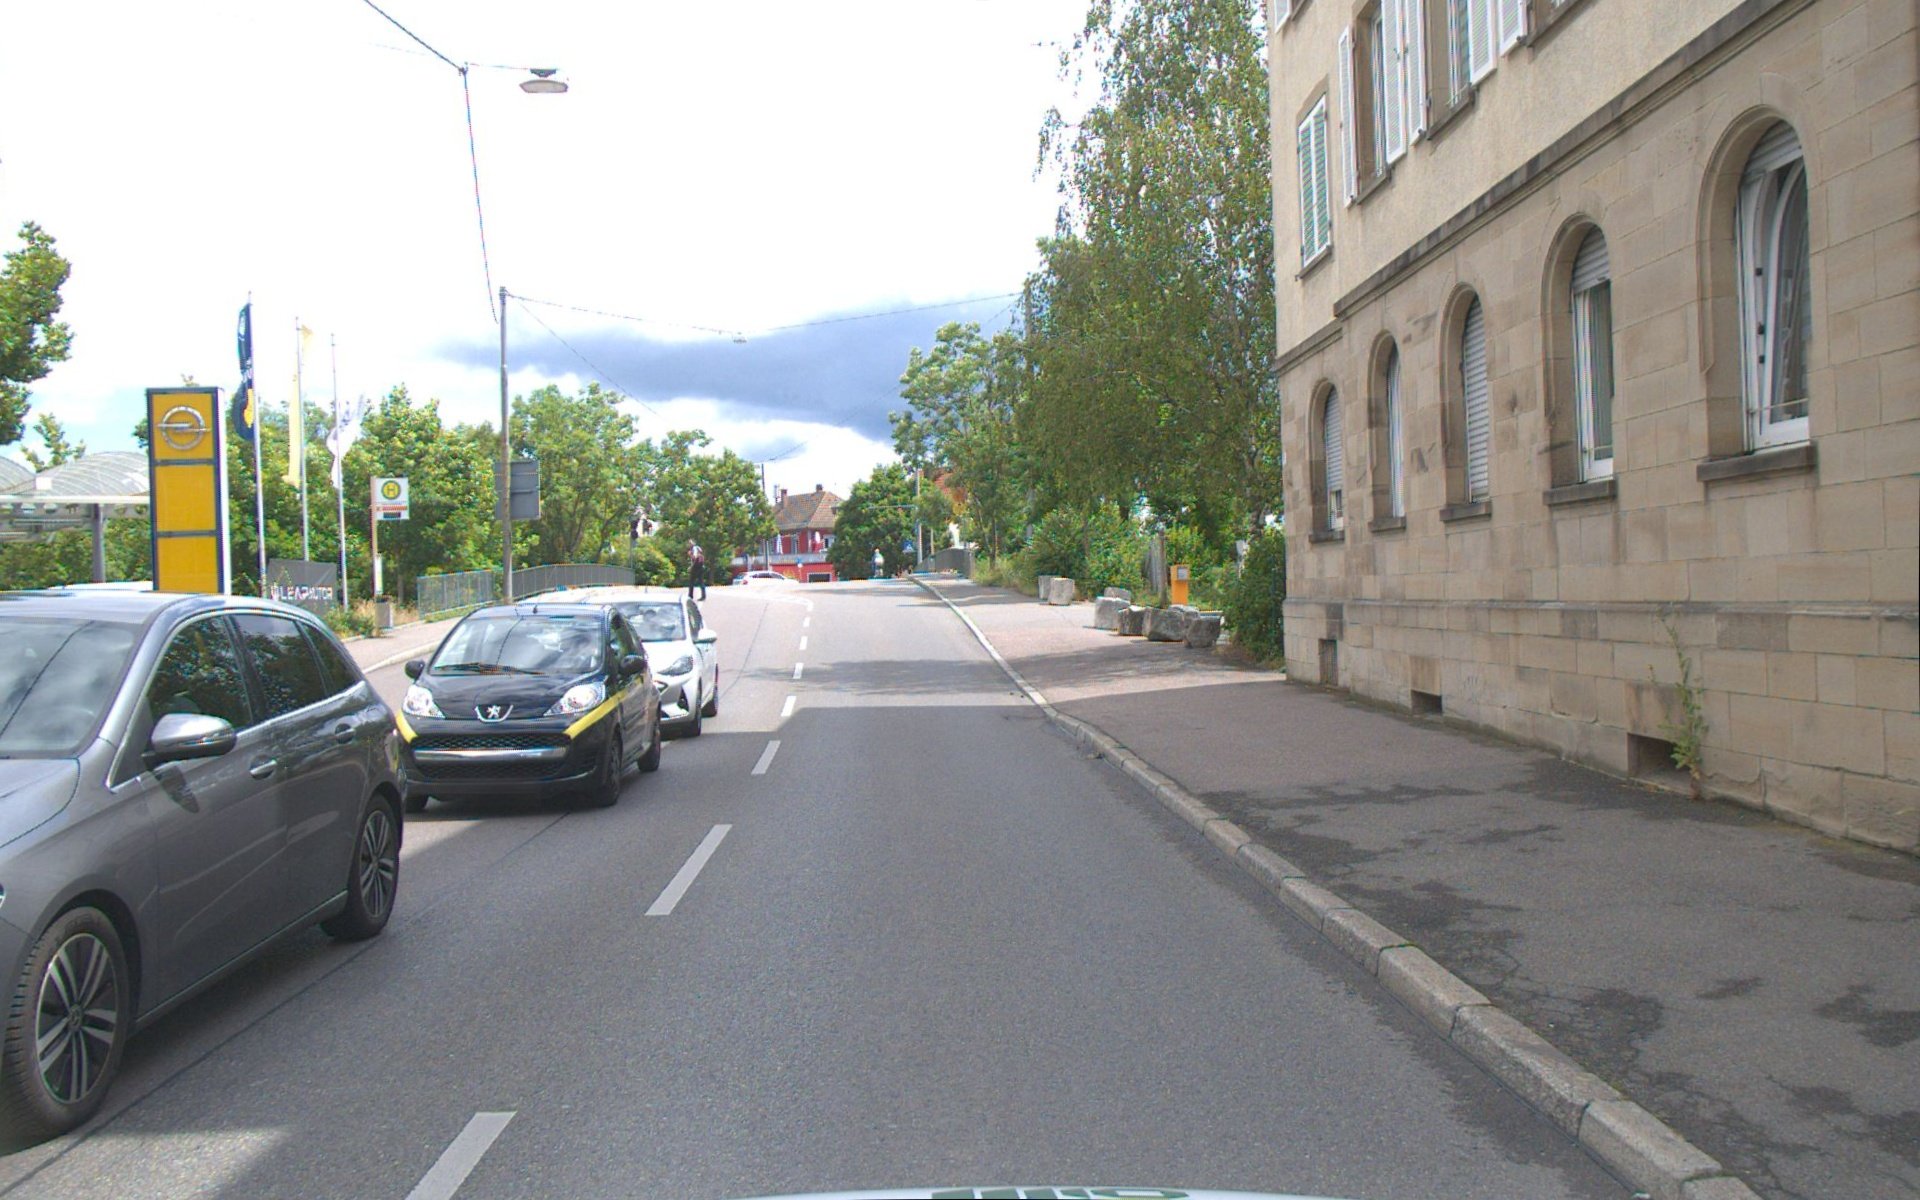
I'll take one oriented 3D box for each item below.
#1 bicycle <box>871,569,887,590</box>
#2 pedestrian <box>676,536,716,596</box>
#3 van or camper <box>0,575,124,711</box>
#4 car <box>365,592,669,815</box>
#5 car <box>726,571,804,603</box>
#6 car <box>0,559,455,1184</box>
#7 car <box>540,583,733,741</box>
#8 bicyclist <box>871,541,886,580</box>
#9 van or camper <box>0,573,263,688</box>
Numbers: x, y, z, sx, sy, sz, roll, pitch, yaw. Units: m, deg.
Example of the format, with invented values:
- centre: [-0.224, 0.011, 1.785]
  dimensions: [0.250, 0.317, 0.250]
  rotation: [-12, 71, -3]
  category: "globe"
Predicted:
- centre: [-4.131, -1.056, 84.742]
  dimensions: [0.673, 0.894, 2.101]
  rotation: [-1, -4, 1]
  category: "bicycle"
- centre: [-8.365, -1.083, 52.447]
  dimensions: [1.012, 1.869, 1.000]
  rotation: [-1, 1, 3]
  category: "pedestrian"
- centre: [-14.439, 0.632, 22.955]
  dimensions: [4.572, 1.780, 2.000]
  rotation: [-2, 1, 1]
  category: "van or camper"
- centre: [-3.297, 0.716, 12.905]
  dimensions: [1.685, 1.510, 3.320]
  rotation: [0, -1, -4]
  category: "car"
- centre: [-12.123, -0.784, 103.029]
  dimensions: [4.378, 1.863, 1.977]
  rotation: [2, -1, -34]
  category: "car"
- centre: [-3.303, 0.713, 5.883]
  dimensions: [1.683, 1.609, 4.251]
  rotation: [0, -1, 0]
  category: "car"
- centre: [-3.569, 0.652, 18.865]
  dimensions: [1.685, 1.609, 3.996]
  rotation: [0, -1, -4]
  category: "car"
- centre: [-4.158, -2.012, 84.694]
  dimensions: [0.670, 1.858, 1.080]
  rotation: [-1, -4, 1]
  category: "bicyclist"
- centre: [-16.398, 0.522, 32.340]
  dimensions: [1.946, 1.997, 4.951]
  rotation: [0, 1, 29]
  category: "van or camper"
